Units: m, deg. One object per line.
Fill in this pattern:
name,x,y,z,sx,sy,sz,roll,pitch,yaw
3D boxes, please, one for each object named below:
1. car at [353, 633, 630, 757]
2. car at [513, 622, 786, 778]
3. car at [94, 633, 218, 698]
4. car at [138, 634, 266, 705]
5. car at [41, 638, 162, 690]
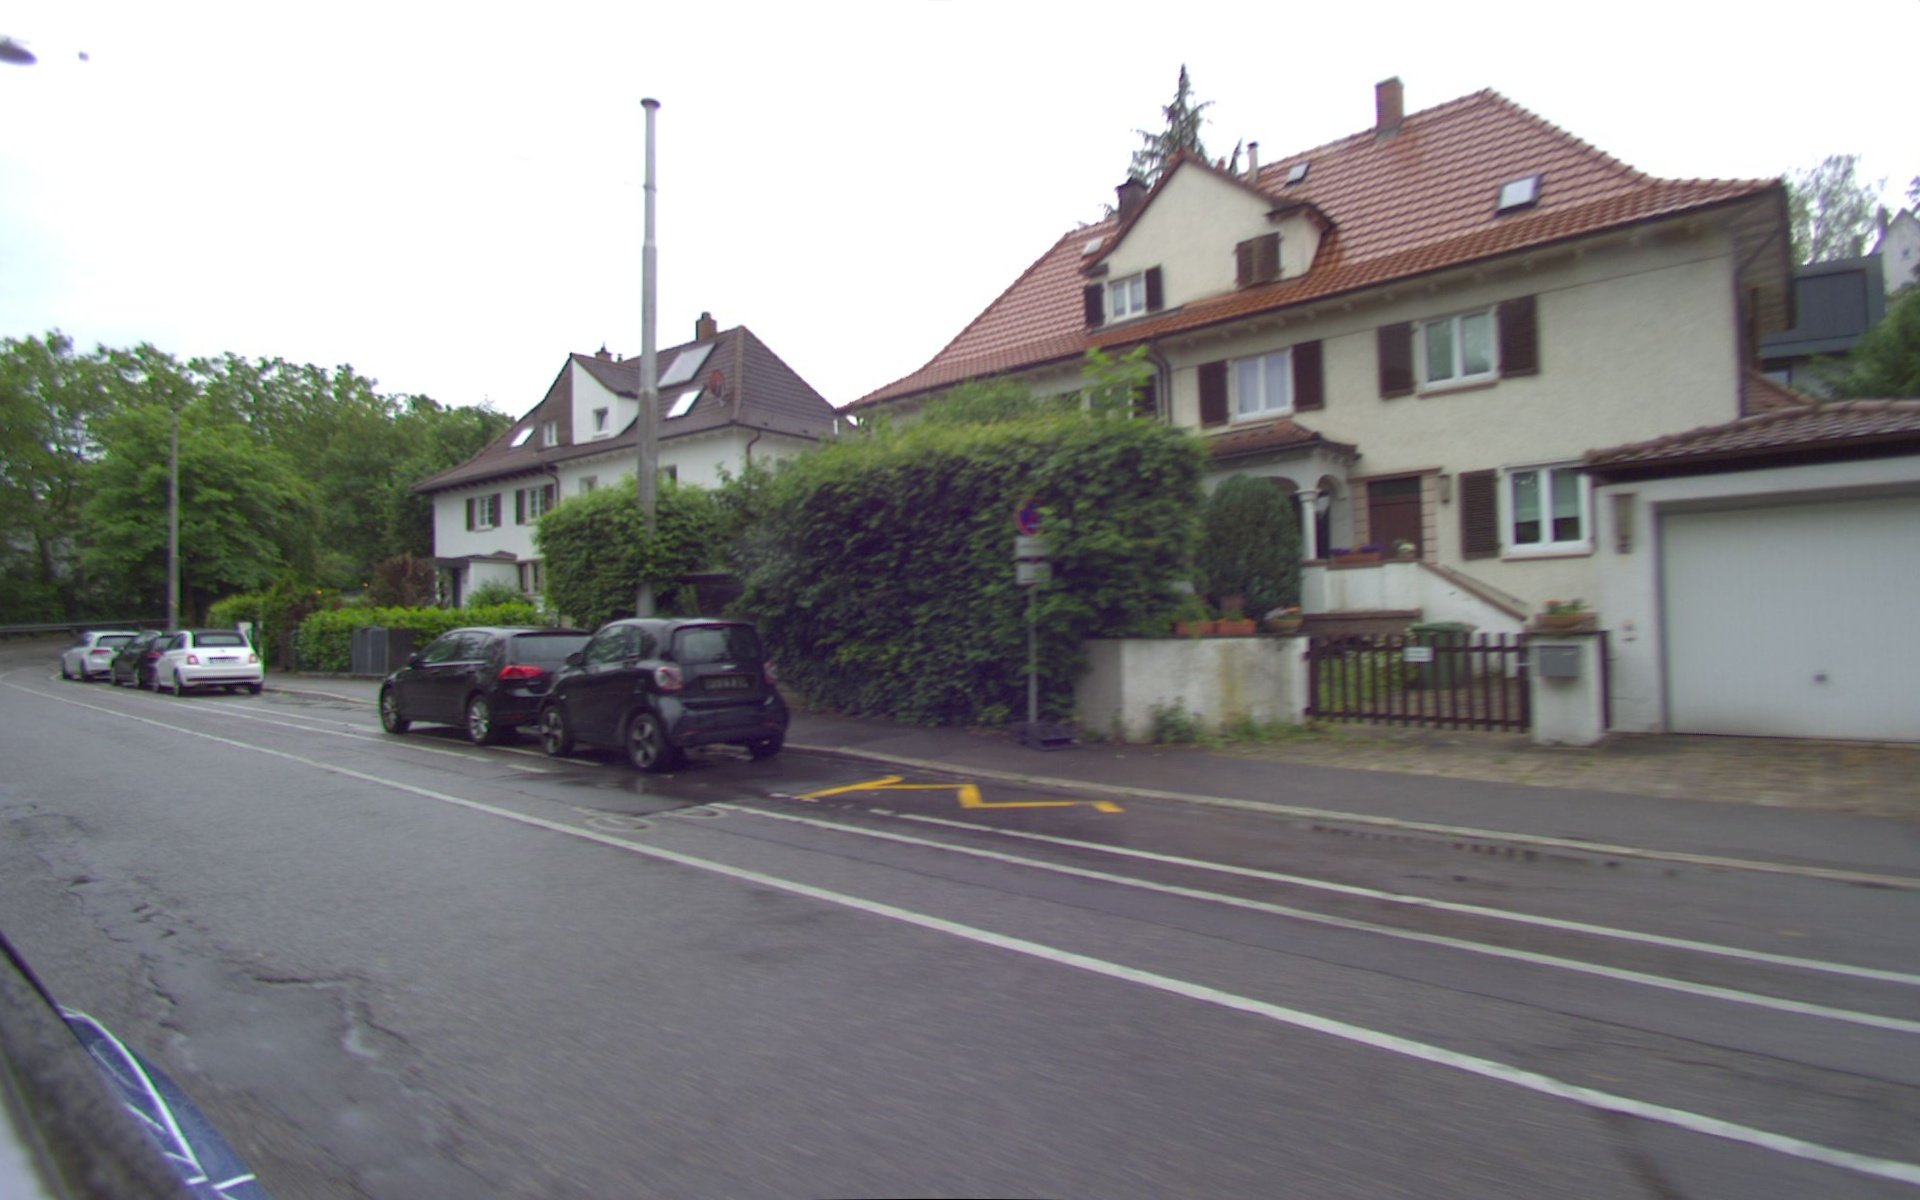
car,-6.391,1.183,13.635,4.210,1.429,1.671,-2,-3,38
car,-3.450,1.010,11.080,3.028,1.465,1.503,-3,-3,41
car,-21.261,1.655,26.706,4.418,1.536,1.681,-2,-1,40
car,-17.898,1.574,23.854,3.709,1.479,1.680,-2,-1,41
car,-25.648,1.920,30.199,4.272,1.433,1.718,-3,-4,35
